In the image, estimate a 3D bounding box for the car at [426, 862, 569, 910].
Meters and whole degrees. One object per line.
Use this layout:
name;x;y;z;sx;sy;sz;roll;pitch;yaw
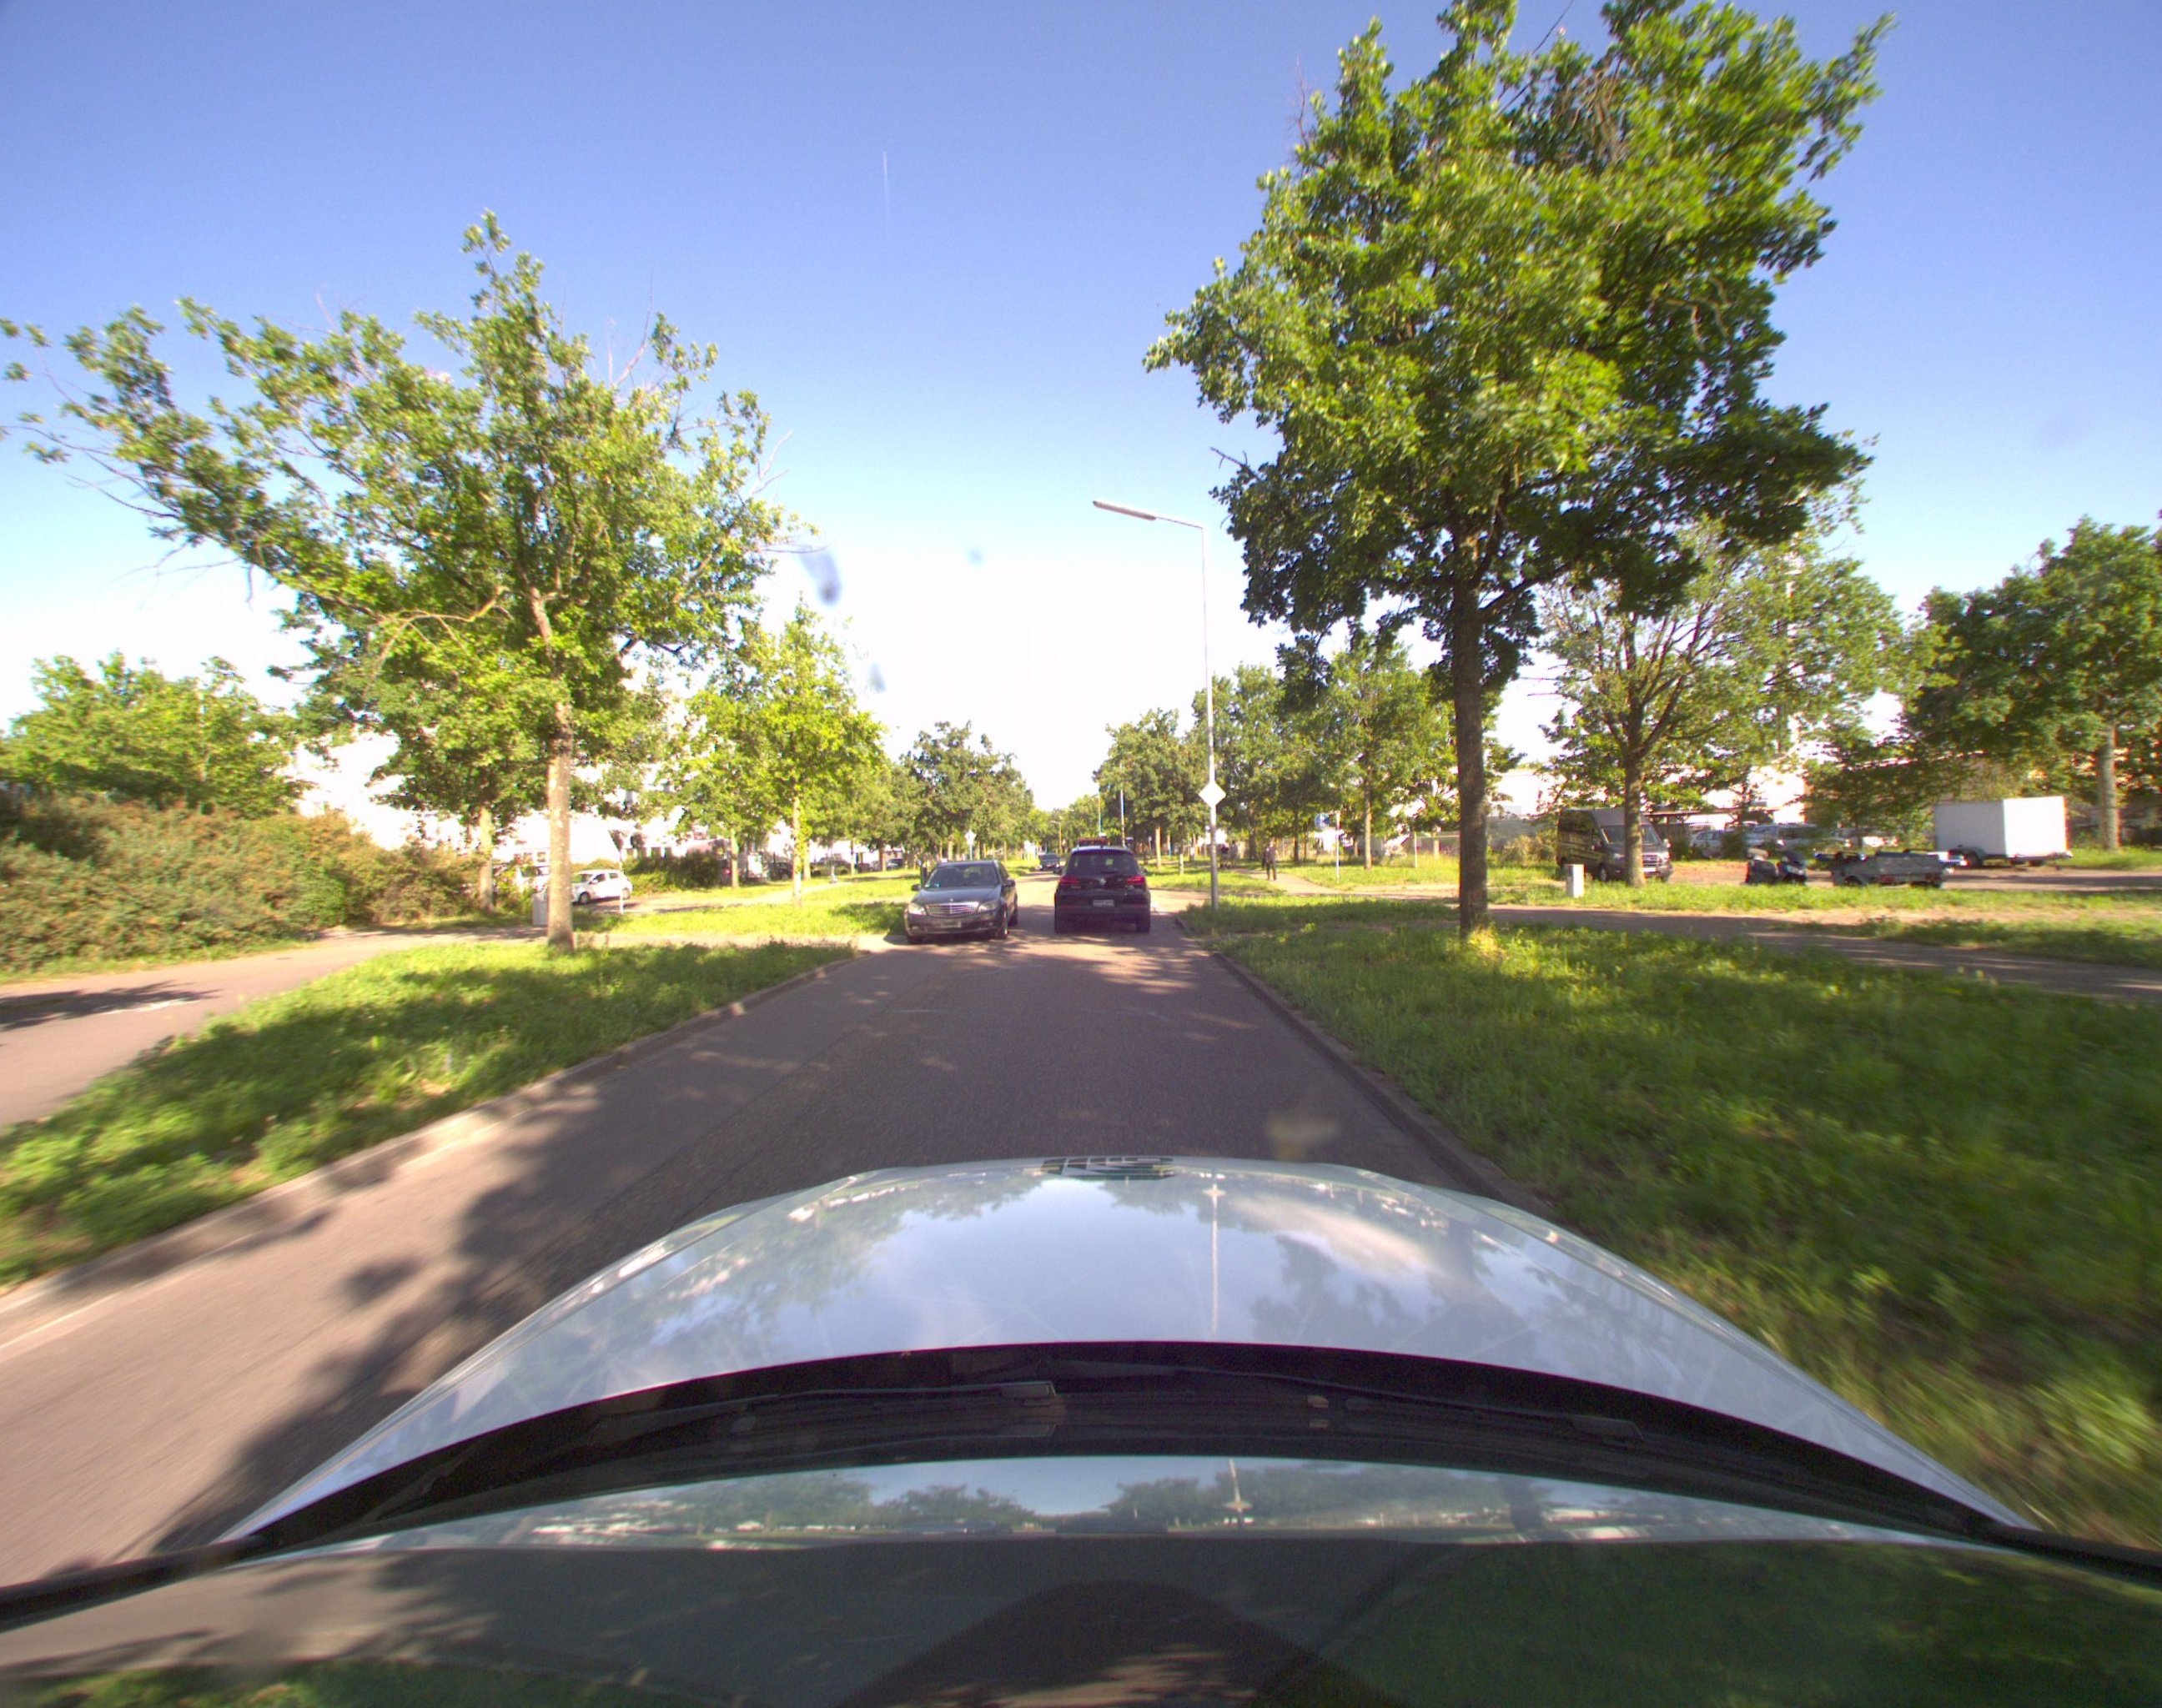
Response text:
car;-28.228;1.475;39.732;2.285;1.816;5.460;-2;3;12

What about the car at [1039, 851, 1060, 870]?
car;-2.845;0.601;74.594;1.800;1.536;4.492;-3;1;-2

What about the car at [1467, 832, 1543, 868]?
car;21.532;-0.218;41.543;1.999;1.664;3.597;-2;0;0

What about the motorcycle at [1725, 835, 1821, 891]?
motorcycle;16.948;0.268;20.044;0.658;1.231;2.413;-2;-4;12

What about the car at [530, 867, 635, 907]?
car;-23.376;1.501;38.389;1.980;1.504;3.931;-2;3;11

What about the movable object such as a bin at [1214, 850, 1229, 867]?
movable object such as a bin;8.995;0.284;52.143;0.723;1.081;0.867;-4;0;-1

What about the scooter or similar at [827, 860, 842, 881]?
scooter or similar;-15.019;0.993;49.656;0.393;1.279;1.441;-2;0;1

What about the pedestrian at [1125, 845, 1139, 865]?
pedestrian;4.221;0.092;67.744;1.016;1.651;1.099;-2;0;-1

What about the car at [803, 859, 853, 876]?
car;-23.270;1.236;74.984;3.975;1.401;1.976;-2;0;-42

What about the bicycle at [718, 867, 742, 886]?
bicycle;-21.680;1.374;50.355;0.637;1.087;1.891;-2;0;0

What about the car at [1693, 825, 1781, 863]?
car;31.234;-0.467;38.914;1.821;1.640;4.017;-2;0;16

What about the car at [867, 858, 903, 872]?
car;-24.247;1.364;100.834;3.715;1.618;1.971;-2;0;14

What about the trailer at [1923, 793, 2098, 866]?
trailer;32.322;-0.803;28.522;2.174;2.307;3.802;-2;0;12

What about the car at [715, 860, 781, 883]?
car;-24.142;1.274;59.112;1.778;1.448;4.025;-2;0;42

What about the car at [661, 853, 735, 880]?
car;-25.528;0.815;54.354;3.992;1.783;2.032;0;0;10

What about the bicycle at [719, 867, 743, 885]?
bicycle;-22.360;1.393;52.060;0.637;1.087;1.891;-2;0;0

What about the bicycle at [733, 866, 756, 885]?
bicycle;-21.368;1.359;51.766;0.637;1.087;1.891;-2;0;0

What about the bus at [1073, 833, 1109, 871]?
bus;0.915;-0.209;82.009;2.758;3.456;11.198;-2;0;-3

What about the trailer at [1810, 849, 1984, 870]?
trailer;29.383;0.171;29.595;2.213;0.651;4.839;-2;0;12

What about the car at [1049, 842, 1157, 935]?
car;0.394;0.601;16.906;1.930;1.656;4.426;0;1;0

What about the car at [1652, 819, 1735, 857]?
car;36.829;-1.019;49.171;2.070;2.061;5.031;0;3;12

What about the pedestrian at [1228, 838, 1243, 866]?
pedestrian;9.956;-0.115;52.518;0.723;1.755;0.867;-4;0;0

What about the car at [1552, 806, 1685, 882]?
car;19.763;-0.499;30.333;2.070;2.565;5.993;0;3;12

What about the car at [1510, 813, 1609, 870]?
car;24.107;-0.618;41.288;2.153;2.643;4.851;-2;0;0

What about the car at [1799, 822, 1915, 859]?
car;36.573;-0.604;38.525;1.982;1.592;4.009;-2;0;8

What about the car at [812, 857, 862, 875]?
car;-23.424;1.187;78.188;4.193;1.538;1.873;-2;0;-42

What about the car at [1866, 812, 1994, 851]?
car;38.753;-1.001;37.344;1.982;1.592;4.009;-2;0;8

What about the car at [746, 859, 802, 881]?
car;-24.735;1.278;65.583;4.011;1.511;1.784;-2;1;-30

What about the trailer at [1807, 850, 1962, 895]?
trailer;17.741;0.439;18.100;1.568;0.868;2.061;-2;-4;12

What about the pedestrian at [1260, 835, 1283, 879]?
pedestrian;8.141;0.136;34.766;0.723;1.812;0.867;-2;2;-1

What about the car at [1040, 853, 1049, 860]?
car;-8.436;0.593;187.202;1.738;1.464;4.426;-3;1;0

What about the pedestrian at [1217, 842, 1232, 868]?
pedestrian;9.029;0.050;51.293;0.723;1.603;0.867;-2;0;-1

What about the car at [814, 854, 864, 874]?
car;-26.626;1.112;89.586;4.885;2.013;1.976;-2;0;-42

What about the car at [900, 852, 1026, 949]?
car;-2.160;0.783;16.090;1.760;1.528;4.495;-3;1;0

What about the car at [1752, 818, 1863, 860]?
car;34.305;-0.709;38.598;1.982;1.823;4.009;-2;0;8

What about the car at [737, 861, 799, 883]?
car;-24.103;1.366;62.755;4.023;1.448;1.779;-2;0;-43
